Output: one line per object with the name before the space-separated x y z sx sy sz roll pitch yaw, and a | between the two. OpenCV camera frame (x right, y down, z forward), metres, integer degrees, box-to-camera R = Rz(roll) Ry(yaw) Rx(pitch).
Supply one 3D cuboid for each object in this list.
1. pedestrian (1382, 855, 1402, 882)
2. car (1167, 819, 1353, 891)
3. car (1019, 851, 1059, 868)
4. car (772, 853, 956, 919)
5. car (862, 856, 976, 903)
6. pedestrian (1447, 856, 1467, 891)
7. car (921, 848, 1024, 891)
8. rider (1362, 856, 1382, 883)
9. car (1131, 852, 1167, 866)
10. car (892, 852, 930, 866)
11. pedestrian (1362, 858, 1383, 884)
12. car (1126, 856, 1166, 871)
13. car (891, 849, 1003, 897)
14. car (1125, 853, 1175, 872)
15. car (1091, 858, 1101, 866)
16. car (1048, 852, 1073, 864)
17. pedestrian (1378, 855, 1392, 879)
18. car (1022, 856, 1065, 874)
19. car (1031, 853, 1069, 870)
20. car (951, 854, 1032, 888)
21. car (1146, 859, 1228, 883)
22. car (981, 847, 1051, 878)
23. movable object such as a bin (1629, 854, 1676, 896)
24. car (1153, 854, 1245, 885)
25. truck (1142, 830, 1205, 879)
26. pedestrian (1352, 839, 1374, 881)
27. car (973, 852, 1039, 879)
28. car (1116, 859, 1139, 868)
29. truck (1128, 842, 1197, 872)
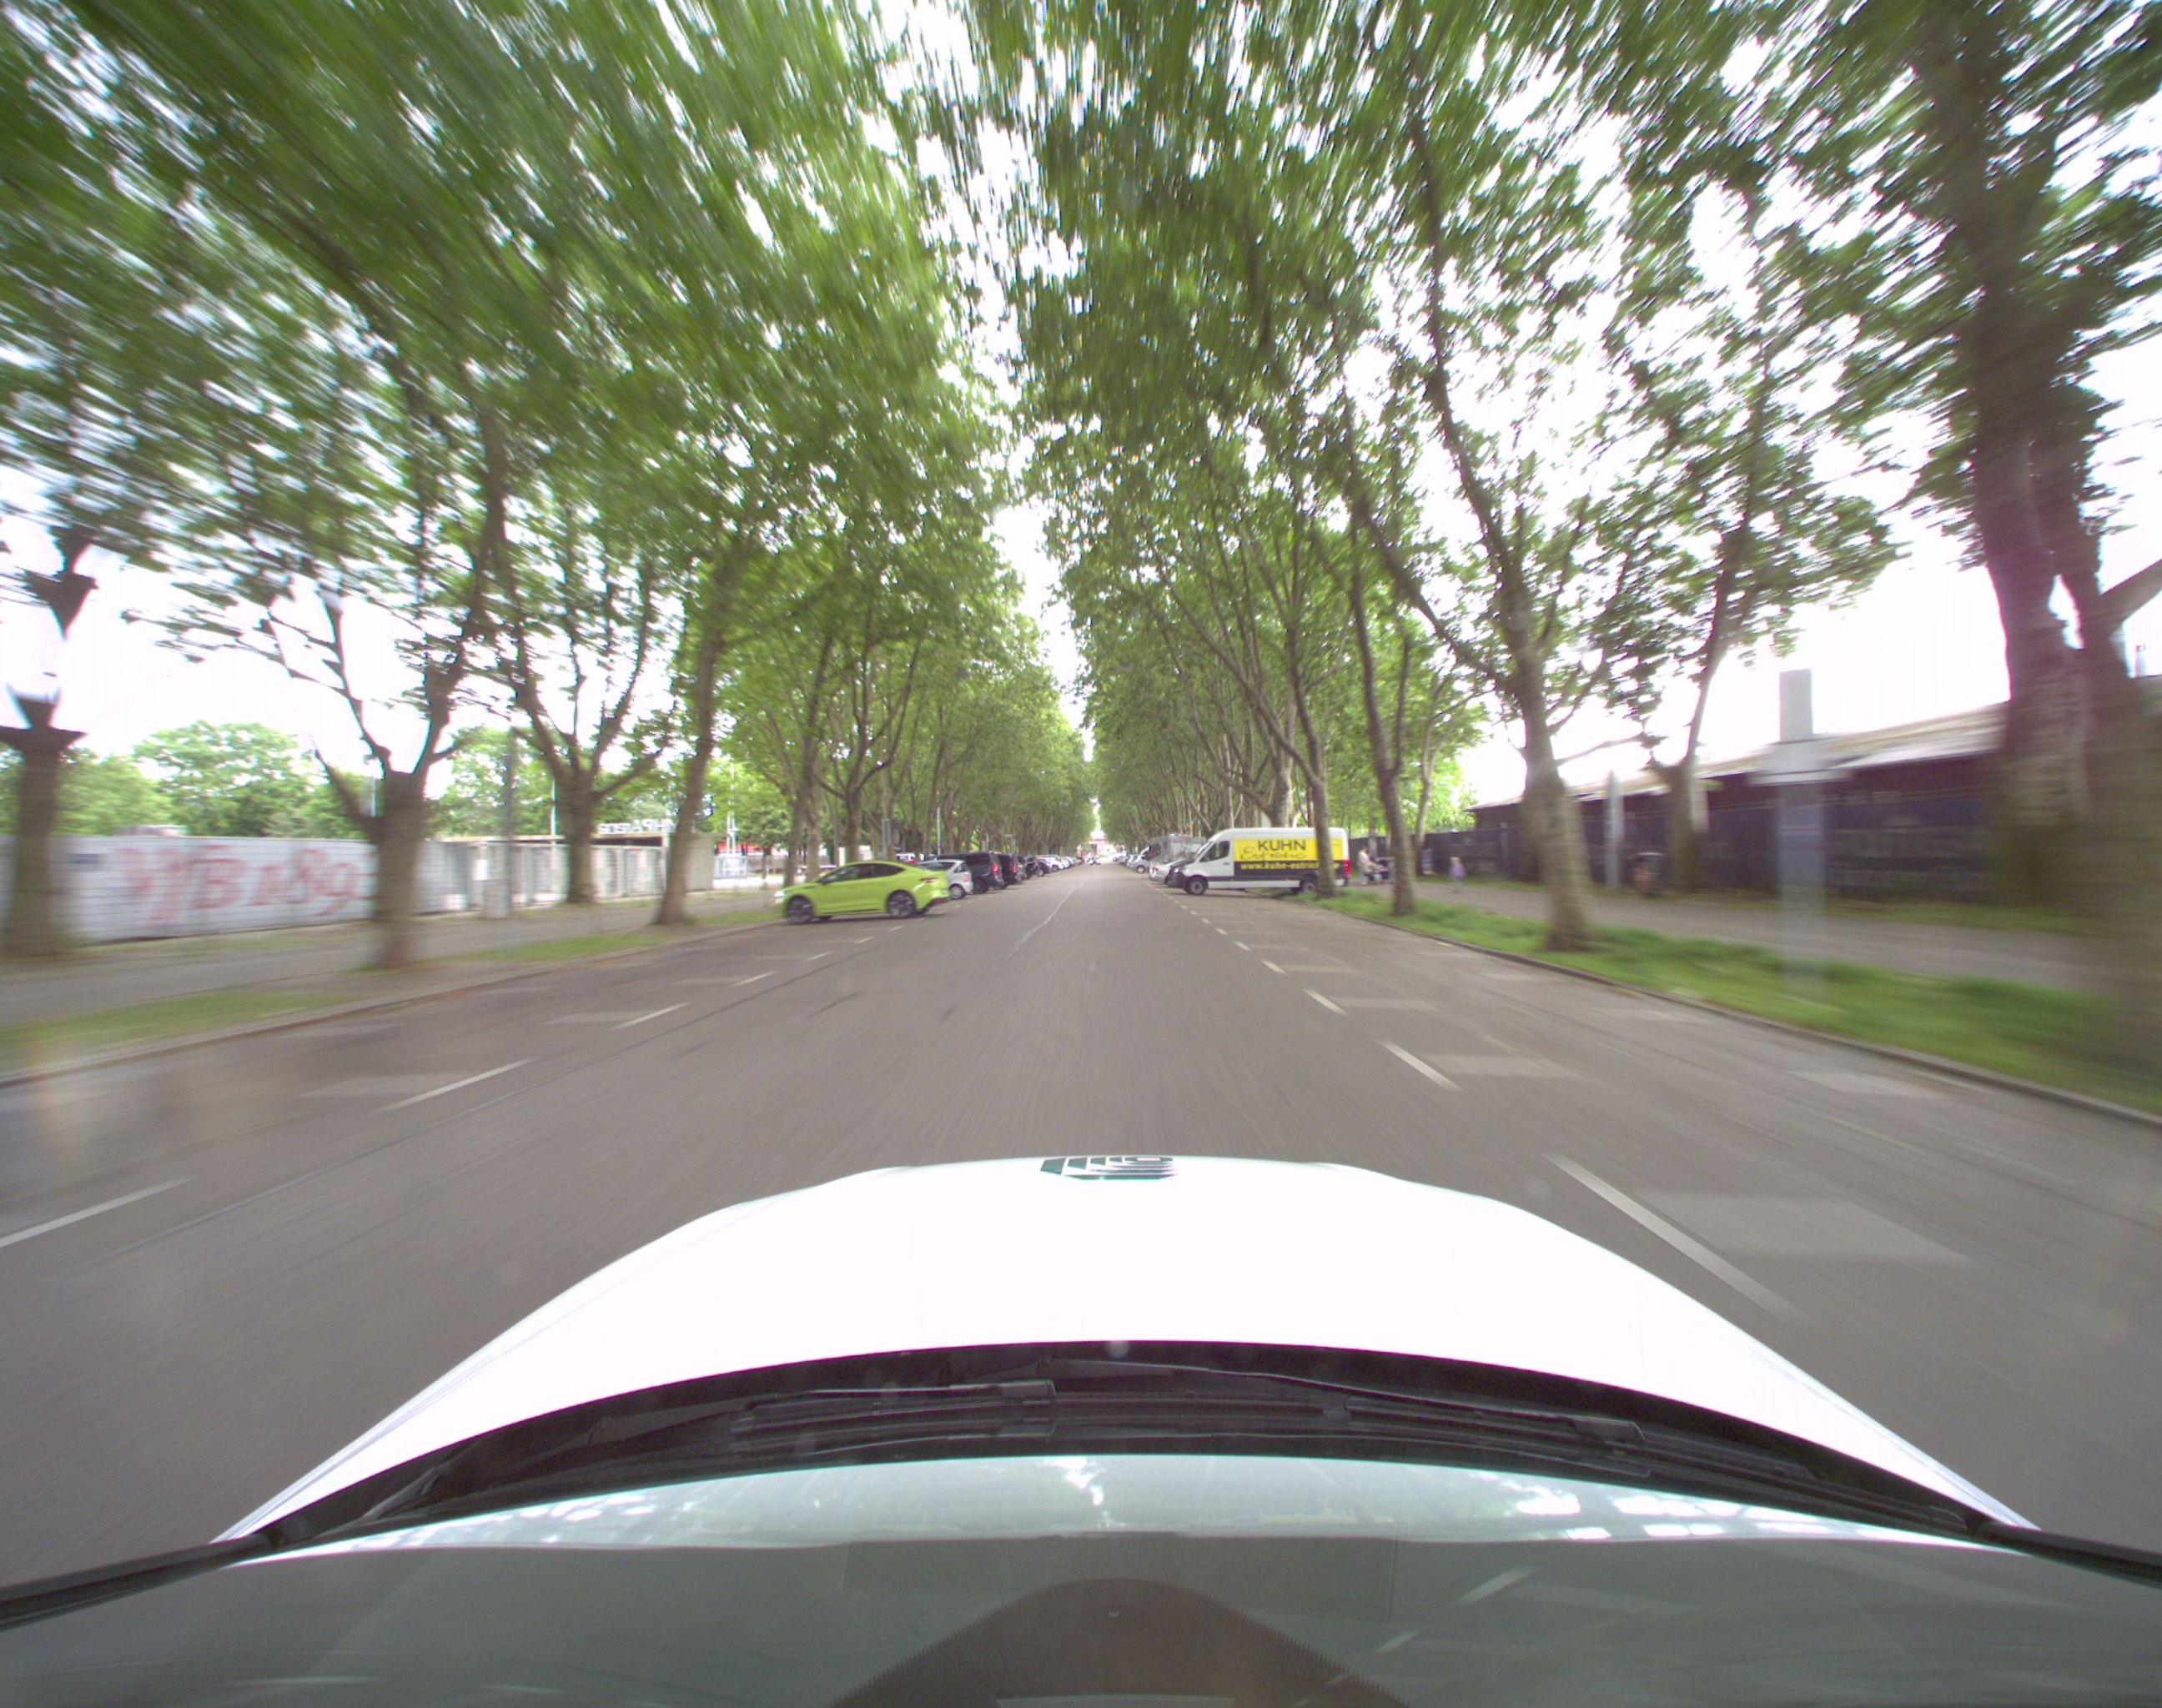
pedestrian | 12.877 0.594 33.696 0.589 1.048 0.589 -3 0 4
car | 6.894 0.064 31.968 6.853 2.695 2.129 0 -1 2
car | -4.799 0.657 93.507 4.327 1.667 1.999 -4 -1 -1
car | -5.856 0.858 22.301 4.496 1.618 1.760 -2 -1 3
car | -6.303 0.987 32.043 4.096 1.568 1.756 -3 0 -4
pedestrian | 12.169 0.625 26.349 0.393 1.084 0.419 -3 -1 5
car | -5.581 0.802 42.281 4.886 1.924 2.209 -3 0 2
rider | 11.980 0.624 33.561 0.589 1.048 0.589 -4 0 4
car | 8.604 0.652 103.265 4.370 1.755 1.800 0 -1 -1
car | -29.135 0.887 139.722 5.980 2.252 2.000 0 -1 1
pedestrian | 12.019 0.684 33.618 0.637 1.059 0.676 0 -1 3
car | 6.825 1.026 85.978 4.102 1.429 1.704 2 -1 3
car | -6.024 0.838 37.096 4.752 1.924 2.015 -3 0 -4
car | 5.995 0.729 70.821 4.320 1.618 1.805 1 -1 4
car | 2.736 1.414 149.850 1.650 1.364 4.109 -4 0 -2
car | -3.136 0.668 125.799 3.816 1.627 1.951 -3 -1 -2
pedestrian | 13.116 0.565 35.171 0.421 1.035 0.392 0 -1 -39
car | -3.921 1.174 85.593 4.366 1.597 1.999 -3 -1 -1
car | -4.141 0.987 108.496 4.877 2.019 1.919 -3 -1 0
car | -5.478 1.043 50.169 4.560 1.781 1.799 -3 0 3
car | 5.748 0.924 44.578 4.303 1.302 1.700 0 -1 2
car | -5.253 0.678 66.225 5.418 2.128 1.940 -3 0 0
movable object such as a bin | 13.966 0.513 19.917 0.566 0.959 0.675 -6 -1 1
car | 5.687 0.725 39.486 4.338 1.445 1.614 0 -1 5
truck | 5.890 0.073 53.223 2.456 2.938 7.520 0 -1 -7
pedestrian | 11.956 0.253 34.513 0.636 1.741 0.621 -3 0 4
car | -5.511 0.826 59.501 4.651 1.820 1.801 -2 -2 -8
car | 8.560 1.718 149.696 4.156 1.596 1.853 0 -1 -2
truck | 7.526 0.293 75.655 6.265 2.715 2.100 0 -1 4
